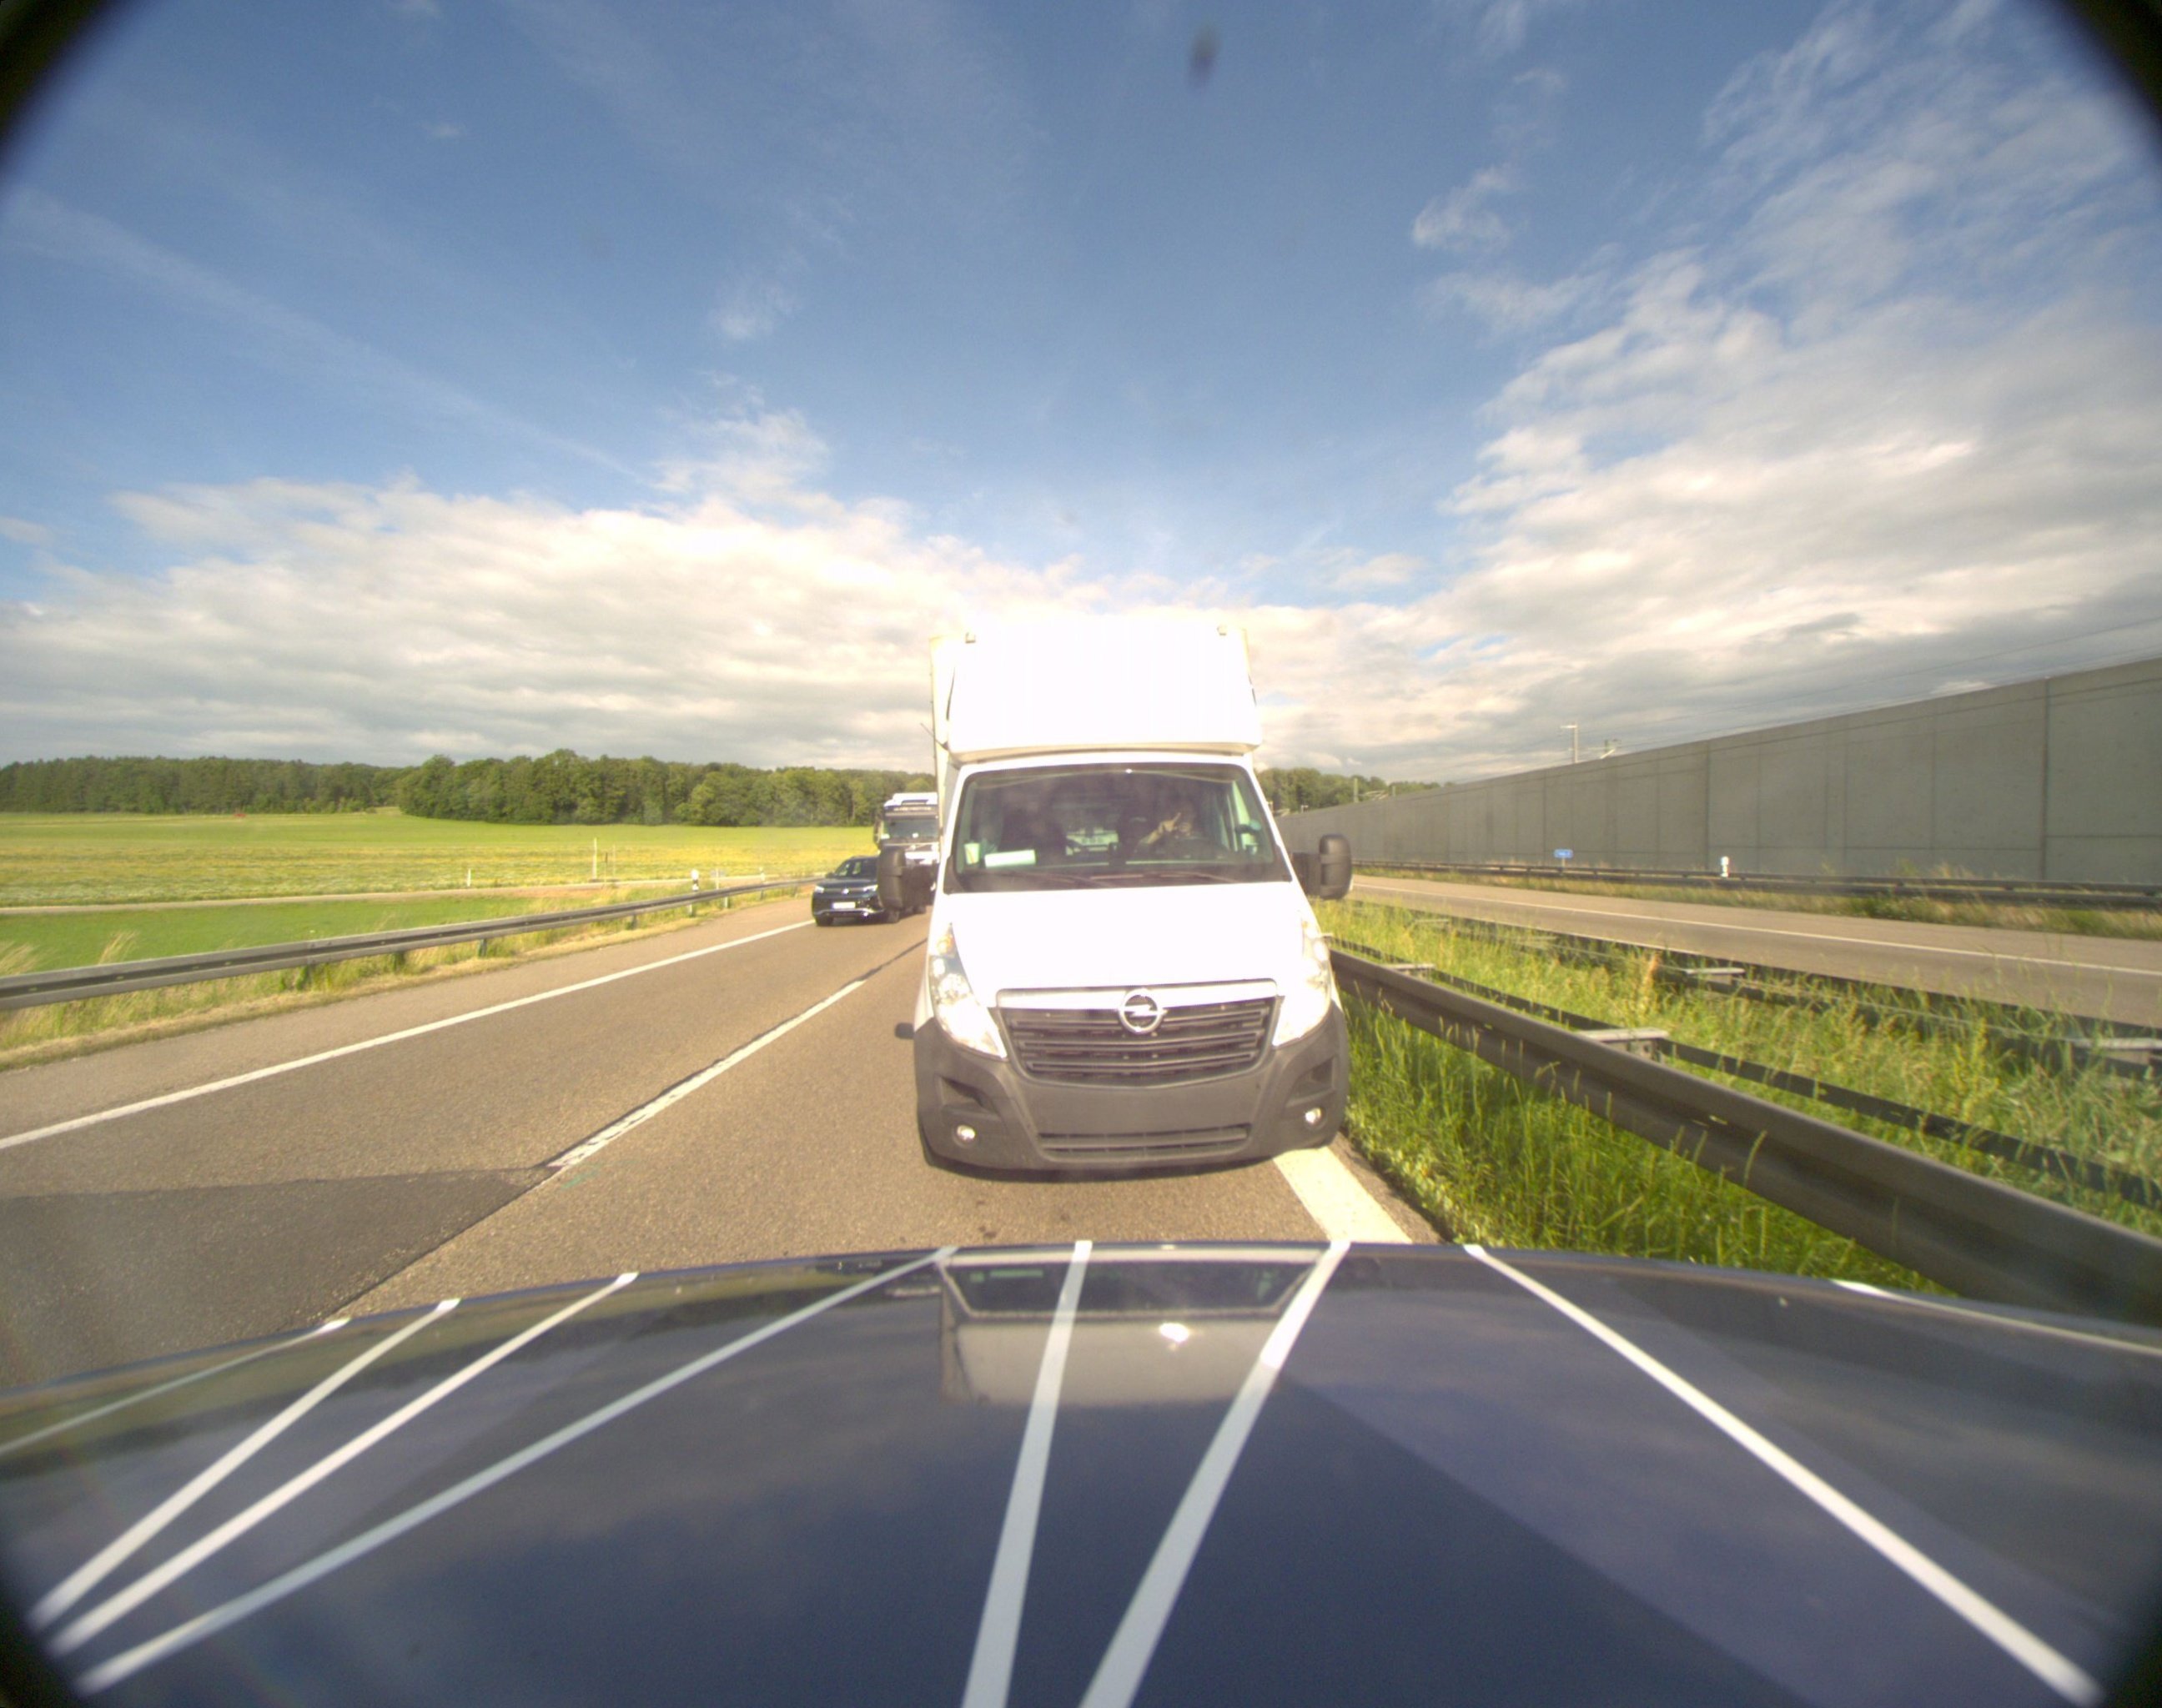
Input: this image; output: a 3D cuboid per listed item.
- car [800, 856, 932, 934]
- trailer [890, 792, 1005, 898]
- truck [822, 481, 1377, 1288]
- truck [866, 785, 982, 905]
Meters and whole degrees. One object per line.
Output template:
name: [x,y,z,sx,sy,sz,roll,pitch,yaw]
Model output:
car: [-5.165,0.908,18.876,1.998,1.587,4.118,-2,1,1]
trailer: [-5.712,-0.418,35.065,2.826,3.959,12.127,-2,1,1]
truck: [0.132,0.090,6.872,2.060,3.088,7.802,-2,1,1]
truck: [-5.790,-0.346,29.211,2.842,3.967,6.500,-2,1,1]
